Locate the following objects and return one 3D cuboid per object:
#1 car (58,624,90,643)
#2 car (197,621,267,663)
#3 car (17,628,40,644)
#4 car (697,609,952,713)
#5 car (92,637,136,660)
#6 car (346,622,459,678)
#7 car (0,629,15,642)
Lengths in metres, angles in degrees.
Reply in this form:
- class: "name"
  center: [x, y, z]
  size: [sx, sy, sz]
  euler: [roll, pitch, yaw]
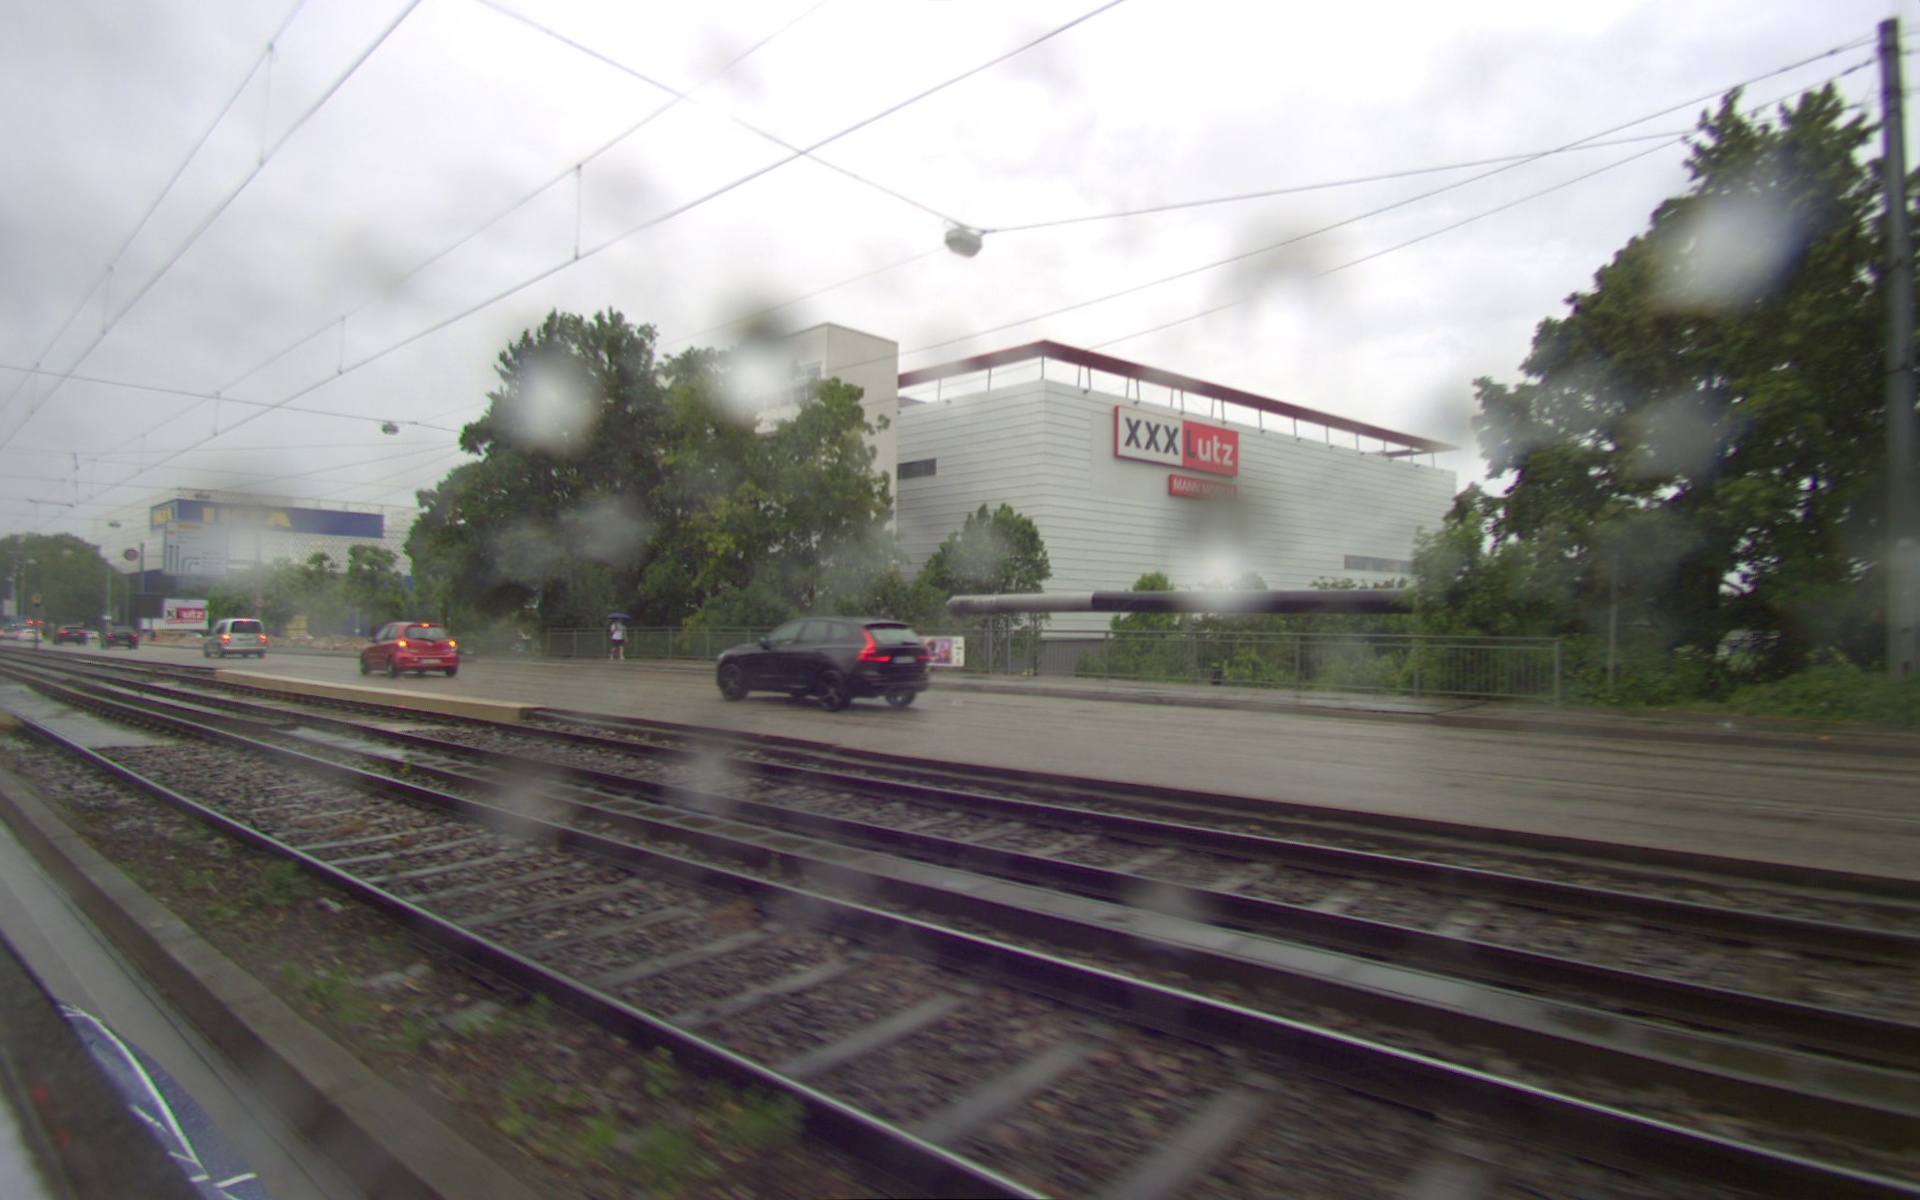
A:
- class: "car"
  center: [-73.842, 2.778, 84.318]
  size: [4.000, 1.557, 1.626]
  euler: [-2, -3, 44]
- class: "car"
  center: [-34.444, 1.974, 47.879]
  size: [3.998, 1.924, 1.821]
  euler: [-2, -3, 41]
- class: "car"
  center: [-96.361, 3.739, 104.642]
  size: [4.001, 1.557, 1.549]
  euler: [-2, -2, 44]
- class: "car"
  center: [-2.579, 1.064, 18.480]
  size: [4.869, 1.665, 1.917]
  euler: [-2, -3, 41]
- class: "car"
  center: [-58.249, 3.302, 69.678]
  size: [3.998, 1.557, 1.686]
  euler: [-2, -3, 41]
- class: "car"
  center: [-15.657, 1.386, 28.364]
  size: [4.001, 1.465, 1.684]
  euler: [-2, -3, 44]
- class: "car"
  center: [-114.126, 4.280, 120.901]
  size: [4.001, 1.546, 1.548]
  euler: [-2, -3, 44]
